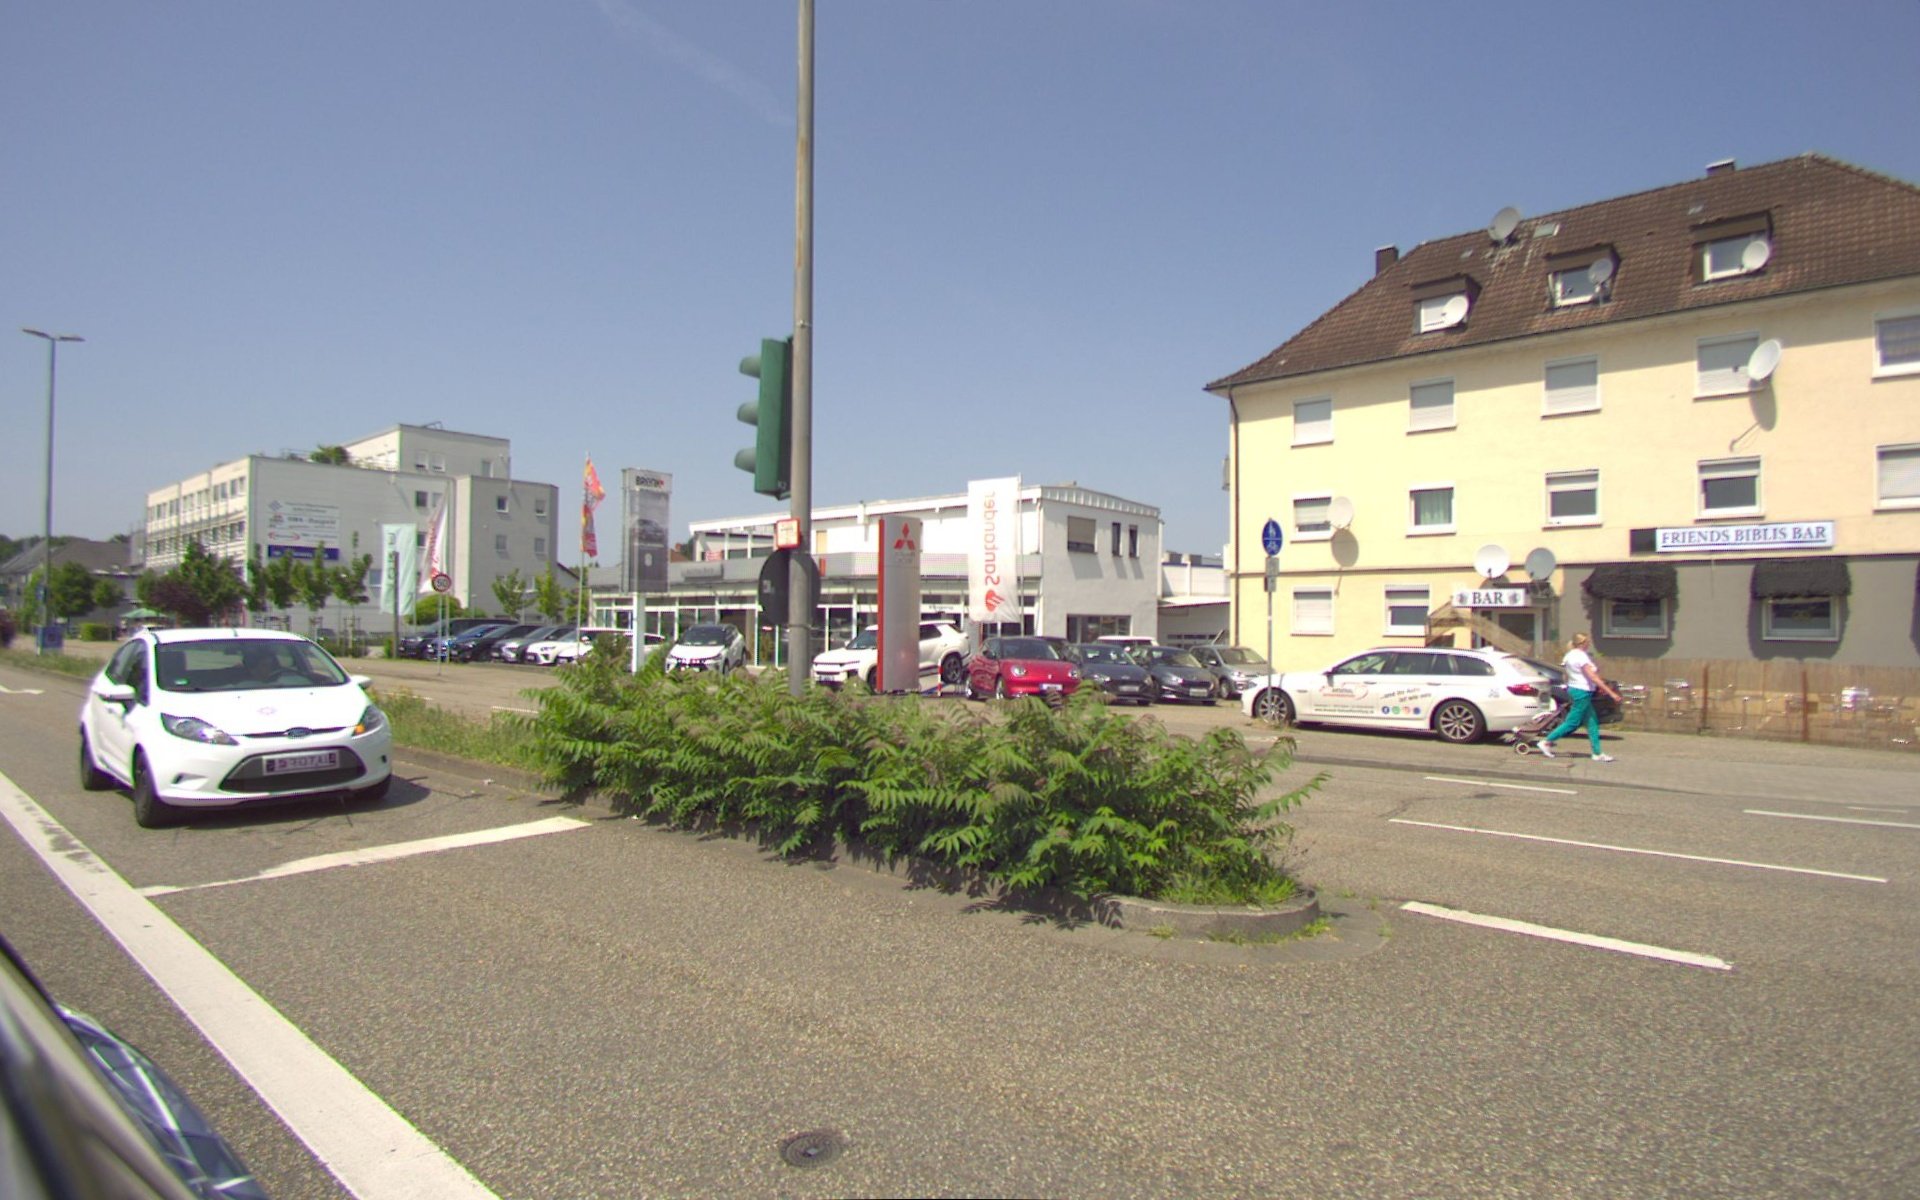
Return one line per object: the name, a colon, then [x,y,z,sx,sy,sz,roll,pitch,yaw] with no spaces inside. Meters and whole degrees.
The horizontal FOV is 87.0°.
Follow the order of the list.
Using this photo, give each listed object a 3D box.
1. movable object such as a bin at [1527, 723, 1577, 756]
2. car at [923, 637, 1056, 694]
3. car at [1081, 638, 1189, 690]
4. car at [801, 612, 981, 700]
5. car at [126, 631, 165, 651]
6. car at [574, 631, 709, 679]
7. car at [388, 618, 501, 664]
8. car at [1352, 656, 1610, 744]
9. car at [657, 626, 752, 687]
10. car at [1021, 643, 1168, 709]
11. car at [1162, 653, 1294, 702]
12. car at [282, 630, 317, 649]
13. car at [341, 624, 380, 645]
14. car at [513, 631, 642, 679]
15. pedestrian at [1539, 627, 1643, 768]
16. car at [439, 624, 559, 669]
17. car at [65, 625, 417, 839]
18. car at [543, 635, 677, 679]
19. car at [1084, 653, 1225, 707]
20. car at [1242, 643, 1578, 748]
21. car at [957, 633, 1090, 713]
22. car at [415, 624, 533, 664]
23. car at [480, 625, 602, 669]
movable object such as a bin: [8.001,1.875,13.685,0.506,0.375,0.412,-1,-3,43]
car: [0.934,1.890,30.003,1.864,1.542,3.945,-1,-3,41]
car: [5.964,2.134,34.285,1.864,1.627,3.945,-1,-3,41]
car: [-1.684,1.347,26.021,4.495,1.722,1.761,-6,3,-45]
car: [-62.143,3.087,77.210,3.663,1.460,1.674,-1,-1,40]
car: [-10.499,1.785,33.583,1.758,1.478,3.947,-1,-2,40]
car: [-22.619,1.794,44.480,1.998,1.896,3.947,-1,-2,40]
car: [9.557,1.766,18.707,3.995,1.361,1.715,-1,-3,39]
car: [-7.899,1.706,31.664,1.737,1.636,3.996,3,-1,3]
car: [3.248,1.828,25.189,1.622,1.437,4.013,2,-2,-28]
car: [7.724,2.215,29.555,1.622,1.261,4.013,2,-2,-22]
car: [-47.150,2.812,72.208,2.833,1.350,1.436,-1,-3,44]
car: [-43.703,2.493,73.746,3.557,1.530,1.536,-1,-3,44]
car: [-13.909,1.971,36.899,1.926,1.621,3.943,-1,-3,43]
pedestrian: [8.342,1.248,13.388,1.034,1.760,0.732,-1,-3,44]
car: [-18.484,1.887,40.670,1.758,1.621,3.947,-1,-5,40]
car: [-6.298,0.945,8.718,3.710,1.445,1.671,-1,-2,42]
car: [-11.963,1.911,34.746,1.858,1.405,3.947,-1,-2,40]
car: [5.196,2.114,27.524,1.622,1.261,4.013,2,-2,-28]
car: [7.261,1.460,16.685,4.757,1.421,1.757,-1,-3,42]
car: [1.338,1.589,23.168,1.809,1.655,4.189,1,-2,-14]
car: [-20.501,1.864,42.776,2.087,1.621,3.946,-1,-3,40]
car: [-16.000,1.809,38.814,1.758,1.580,3.947,-1,-3,40]
